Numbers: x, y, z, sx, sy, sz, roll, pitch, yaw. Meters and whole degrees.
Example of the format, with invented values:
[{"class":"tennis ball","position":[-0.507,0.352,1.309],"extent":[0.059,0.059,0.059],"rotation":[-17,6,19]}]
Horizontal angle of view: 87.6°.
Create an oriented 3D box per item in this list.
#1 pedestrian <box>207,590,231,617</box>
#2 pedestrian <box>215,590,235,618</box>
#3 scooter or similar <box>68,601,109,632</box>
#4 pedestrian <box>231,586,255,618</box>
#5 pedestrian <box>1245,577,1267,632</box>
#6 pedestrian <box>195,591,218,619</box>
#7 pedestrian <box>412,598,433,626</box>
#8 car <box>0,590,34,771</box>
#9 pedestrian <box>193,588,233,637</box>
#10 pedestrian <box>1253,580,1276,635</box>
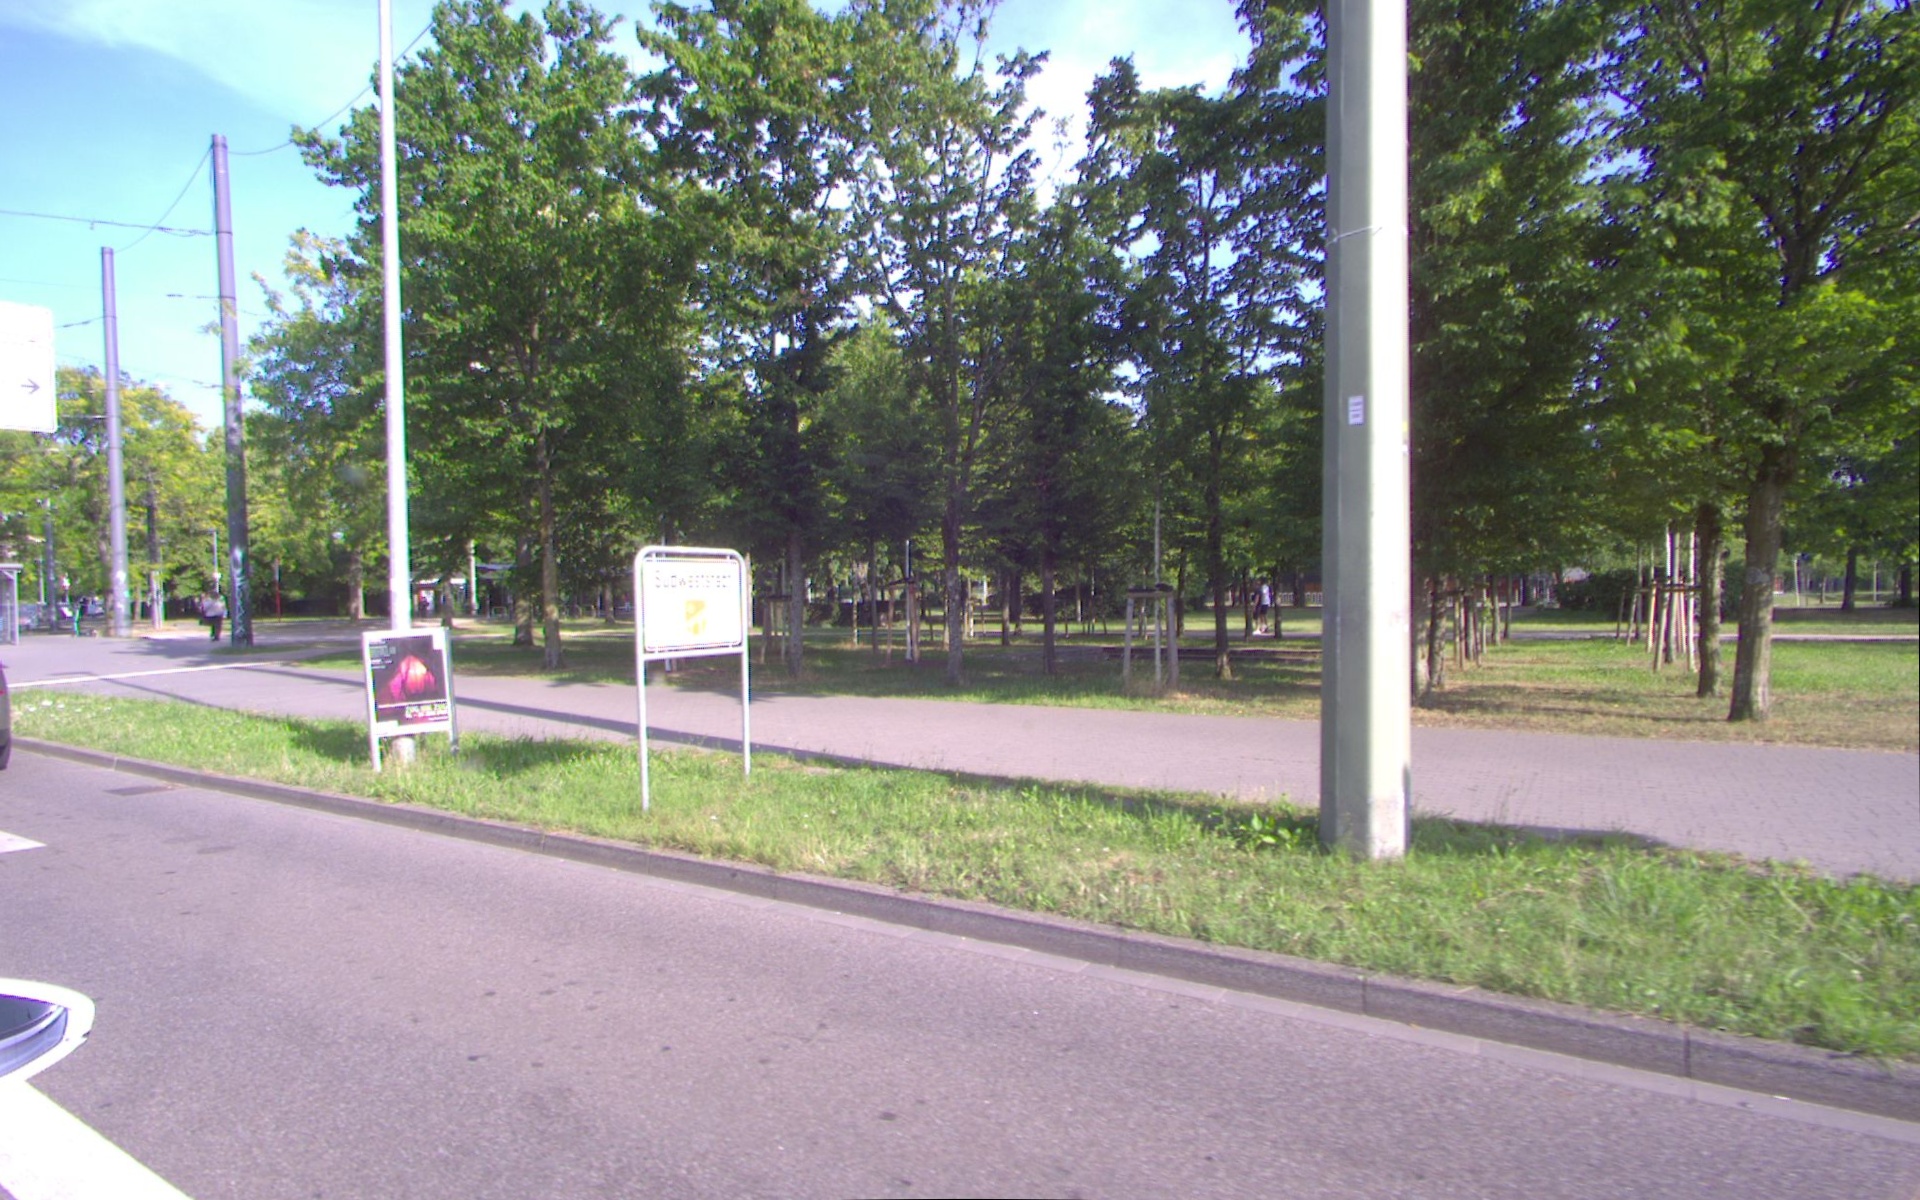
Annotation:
[{"class":"pedestrian","position":[-42.058,0.218,56.861],"extent":[0.688,1.508,0.813],"rotation":[0,1,21]},{"class":"pedestrian","position":[-40.951,0.212,55.819],"extent":[0.805,1.508,0.696],"rotation":[-2,2,-33]},{"class":"scooter or similar","position":[-32.378,0.608,37.207],"extent":[1.305,1.132,0.420],"rotation":[0,1,12]},{"class":"pedestrian","position":[-41.216,0.095,57.548],"extent":[0.826,1.809,0.798],"rotation":[0,1,28]},{"class":"pedestrian","position":[9.877,0.148,33.457],"extent":[0.617,1.836,0.502],"rotation":[-1,1,6]},{"class":"pedestrian","position":[-41.992,0.265,55.834],"extent":[0.687,1.508,0.815],"rotation":[-1,1,-9]},{"class":"pedestrian","position":[-31.985,0.716,59.594],"extent":[0.792,1.659,0.833],"rotation":[0,2,38]},{"class":"car","position":[-10.771,0.767,9.603],"extent":[3.595,1.673,1.880],"rotation":[0,1,32]},{"class":"pedestrian","position":[-25.432,0.413,34.110],"extent":[0.793,1.659,0.754],"rotation":[-1,1,-7]},{"class":"pedestrian","position":[10.325,0.255,33.963],"extent":[0.617,1.836,0.502],"rotation":[-1,1,3]}]
